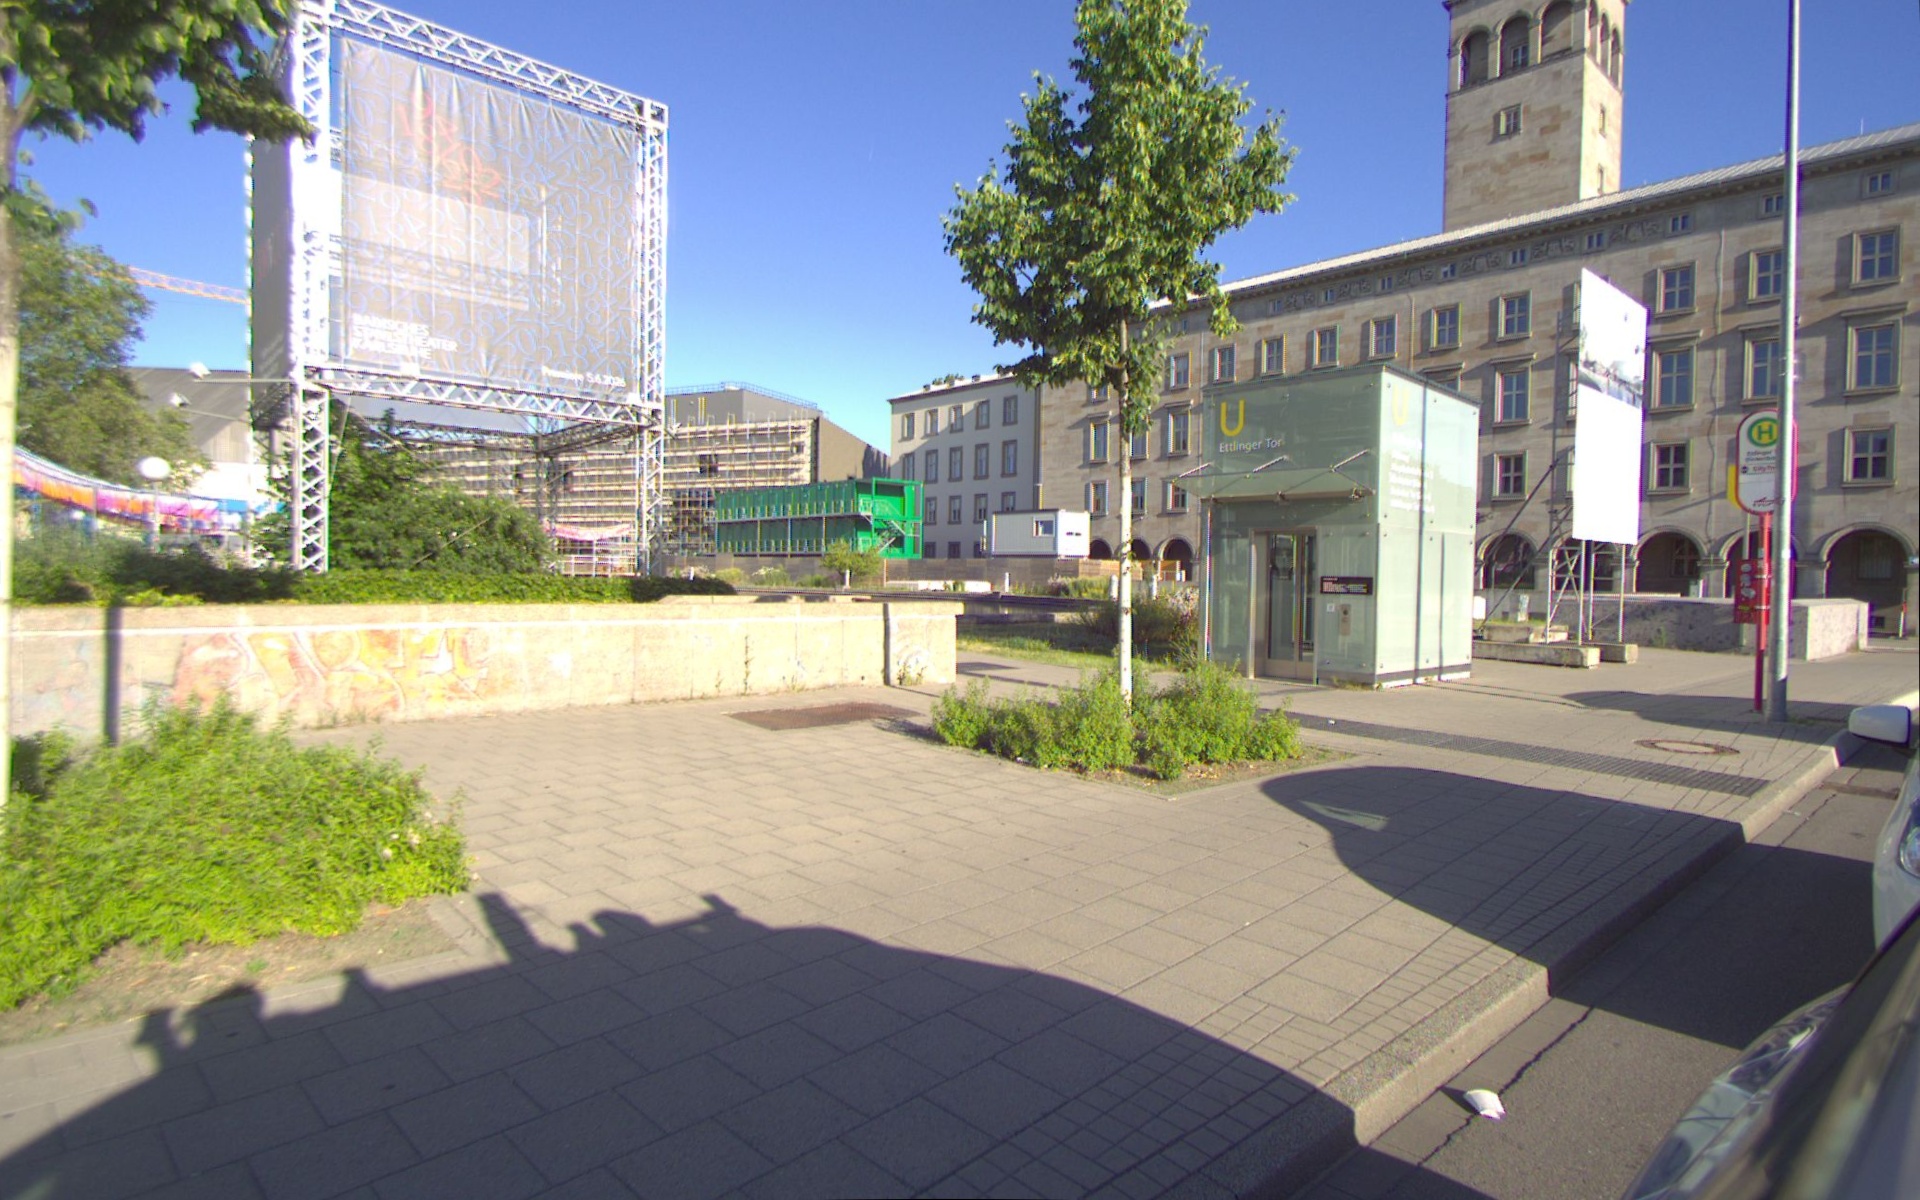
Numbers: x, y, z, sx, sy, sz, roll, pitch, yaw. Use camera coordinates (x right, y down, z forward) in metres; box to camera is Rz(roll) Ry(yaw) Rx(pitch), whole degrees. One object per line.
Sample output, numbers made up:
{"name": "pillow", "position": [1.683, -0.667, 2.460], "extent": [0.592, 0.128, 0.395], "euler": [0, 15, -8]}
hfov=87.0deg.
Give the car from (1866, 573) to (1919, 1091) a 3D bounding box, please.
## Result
{"name": "car", "position": [4.642, 0.676, 3.670], "extent": [3.930, 1.473, 1.518], "euler": [0, 2, -41]}
